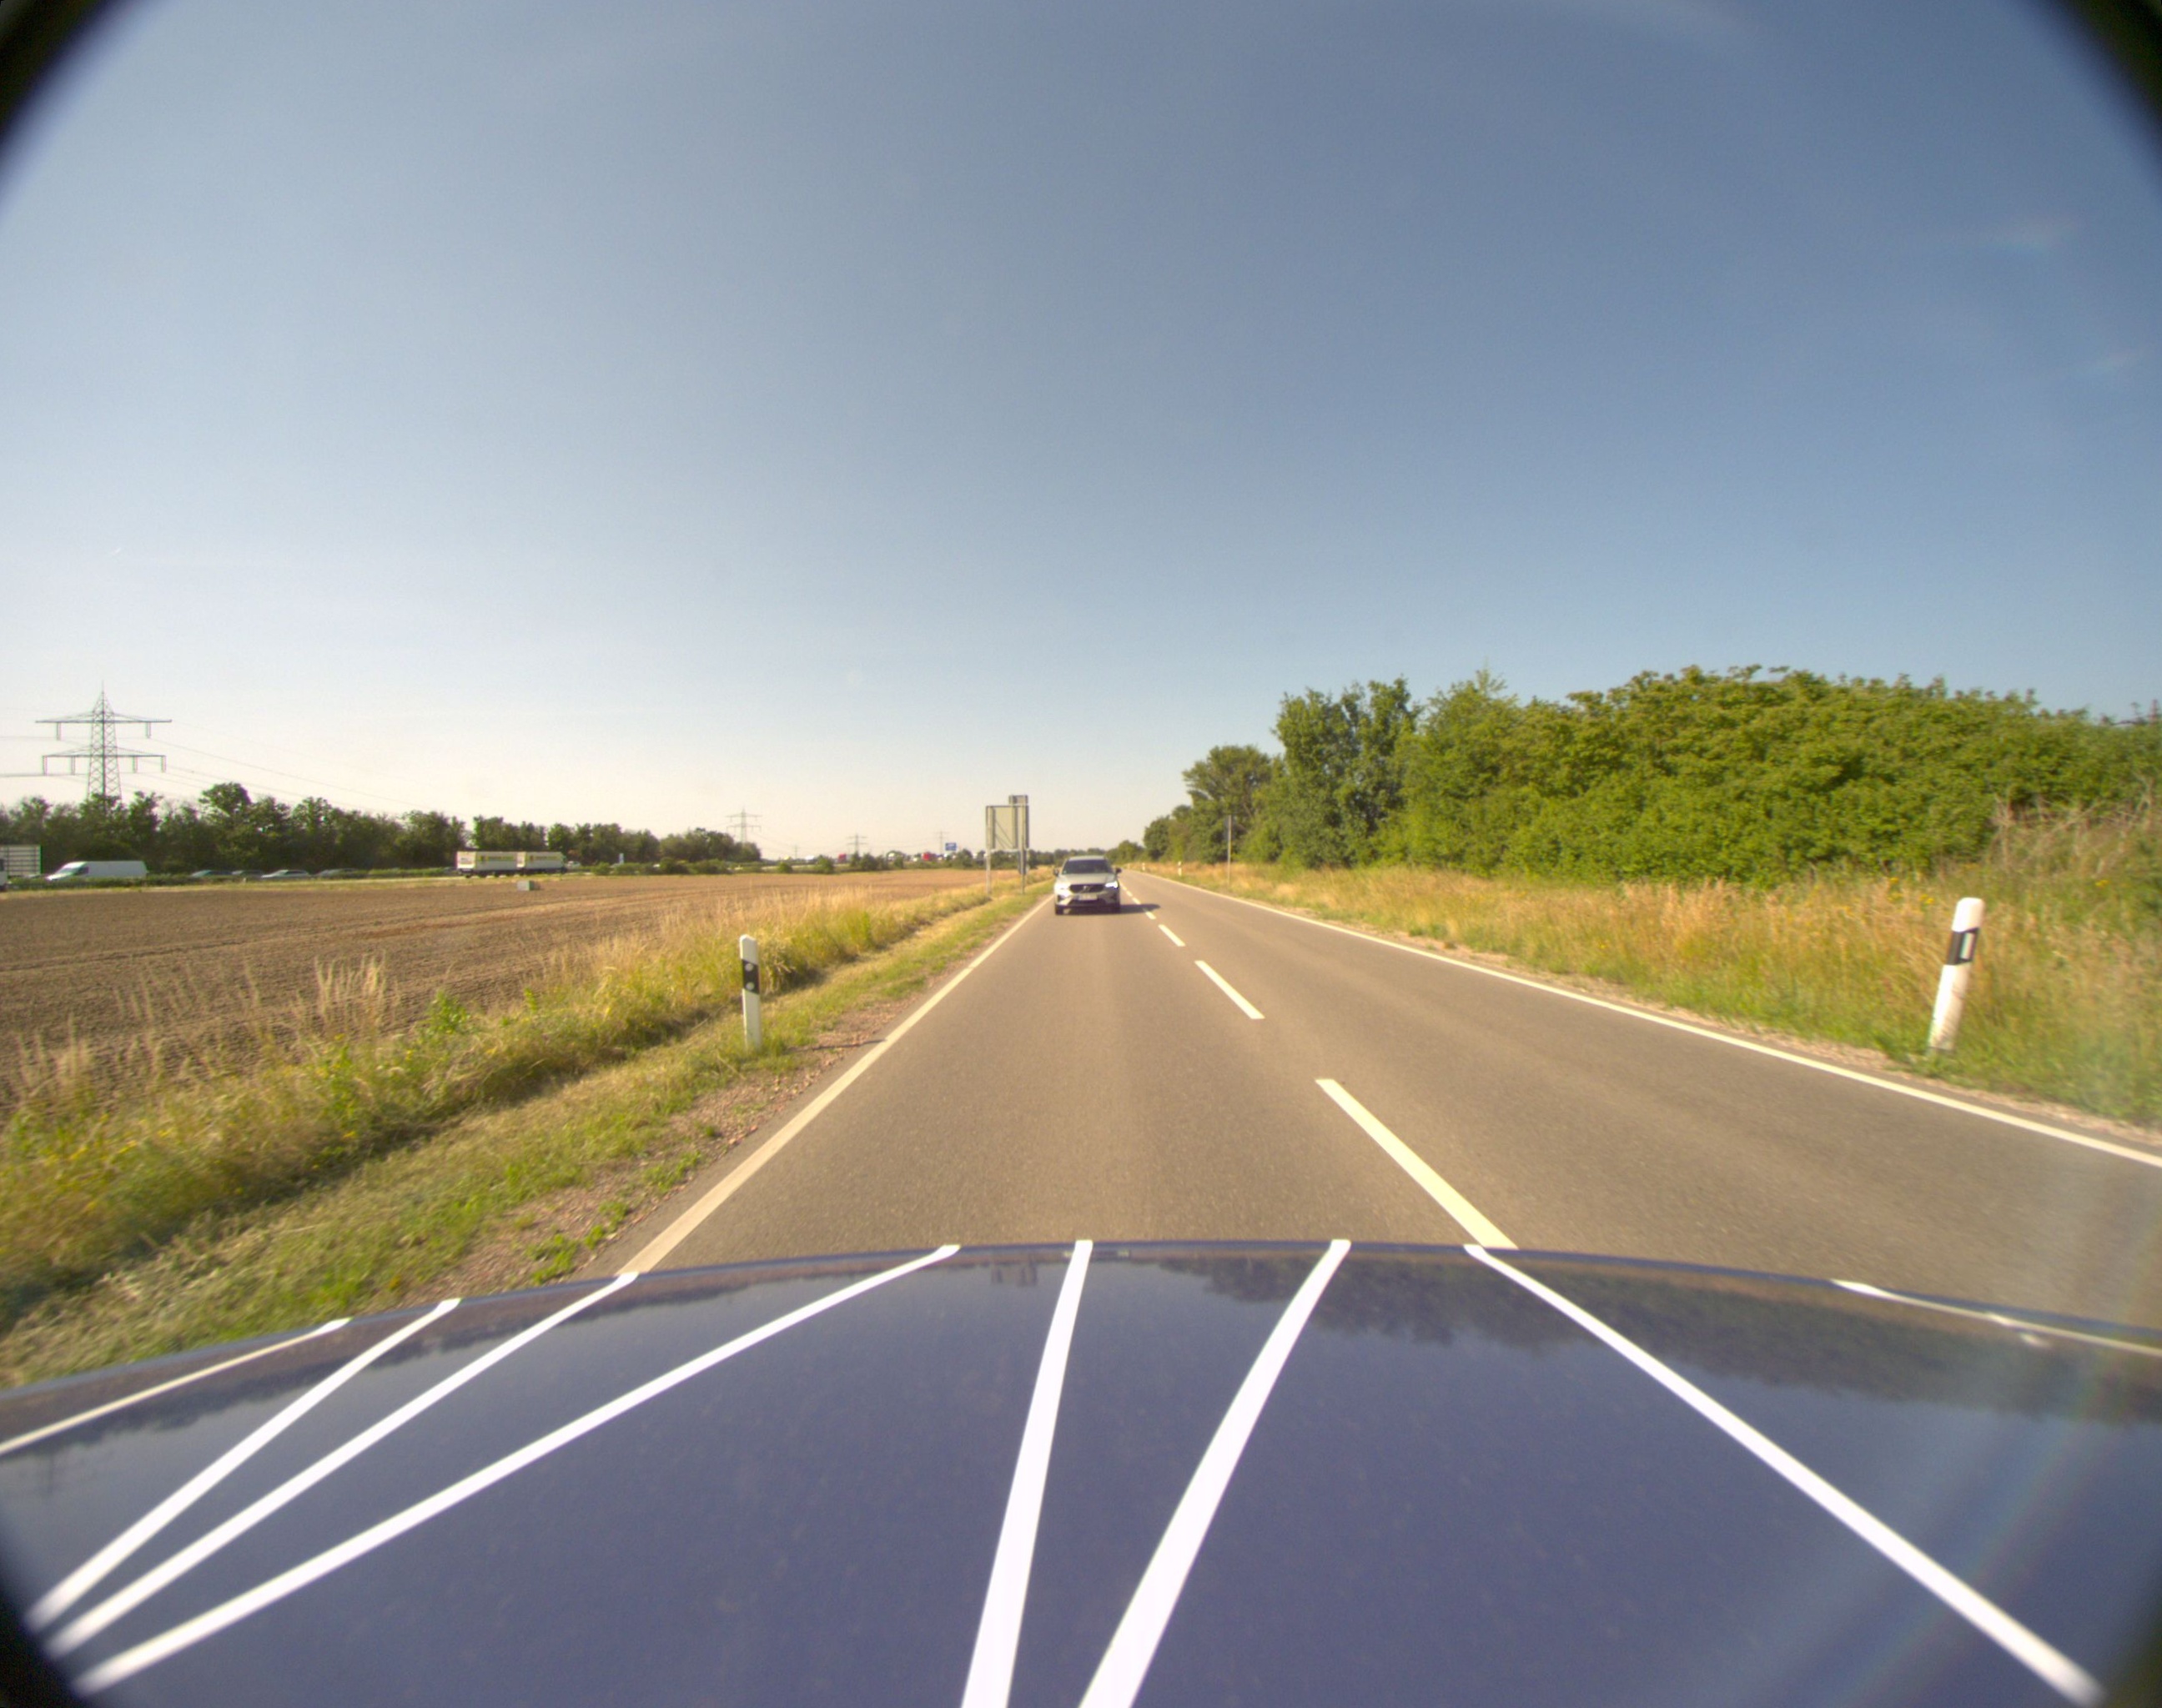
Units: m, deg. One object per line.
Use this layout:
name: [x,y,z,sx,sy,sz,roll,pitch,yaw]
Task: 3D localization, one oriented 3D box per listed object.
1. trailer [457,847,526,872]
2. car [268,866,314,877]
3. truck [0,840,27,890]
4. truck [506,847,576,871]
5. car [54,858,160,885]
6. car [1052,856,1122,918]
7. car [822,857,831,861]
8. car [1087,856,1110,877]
trailer: [-82.516,0.764,106.591,2.800,3.395,8.717,-1,0,0]
car: [-93.436,2.074,89.892,1.344,1.118,3.862,-2,0,1]
truck: [-83.082,0.920,55.884,3.080,3.780,5.610,-2,1,-1]
truck: [-82.539,0.693,116.455,2.813,3.457,11.120,-1,0,0]
car: [-96.078,1.714,75.094,2.042,2.433,6.414,-2,0,1]
car: [0.210,0.912,22.757,1.840,1.628,4.136,-2,0,1]
car: [-82.188,1.624,245.046,1.583,1.256,3.551,-3,0,1]
car: [1.456,1.034,64.210,1.840,1.628,4.135,-2,0,0]
